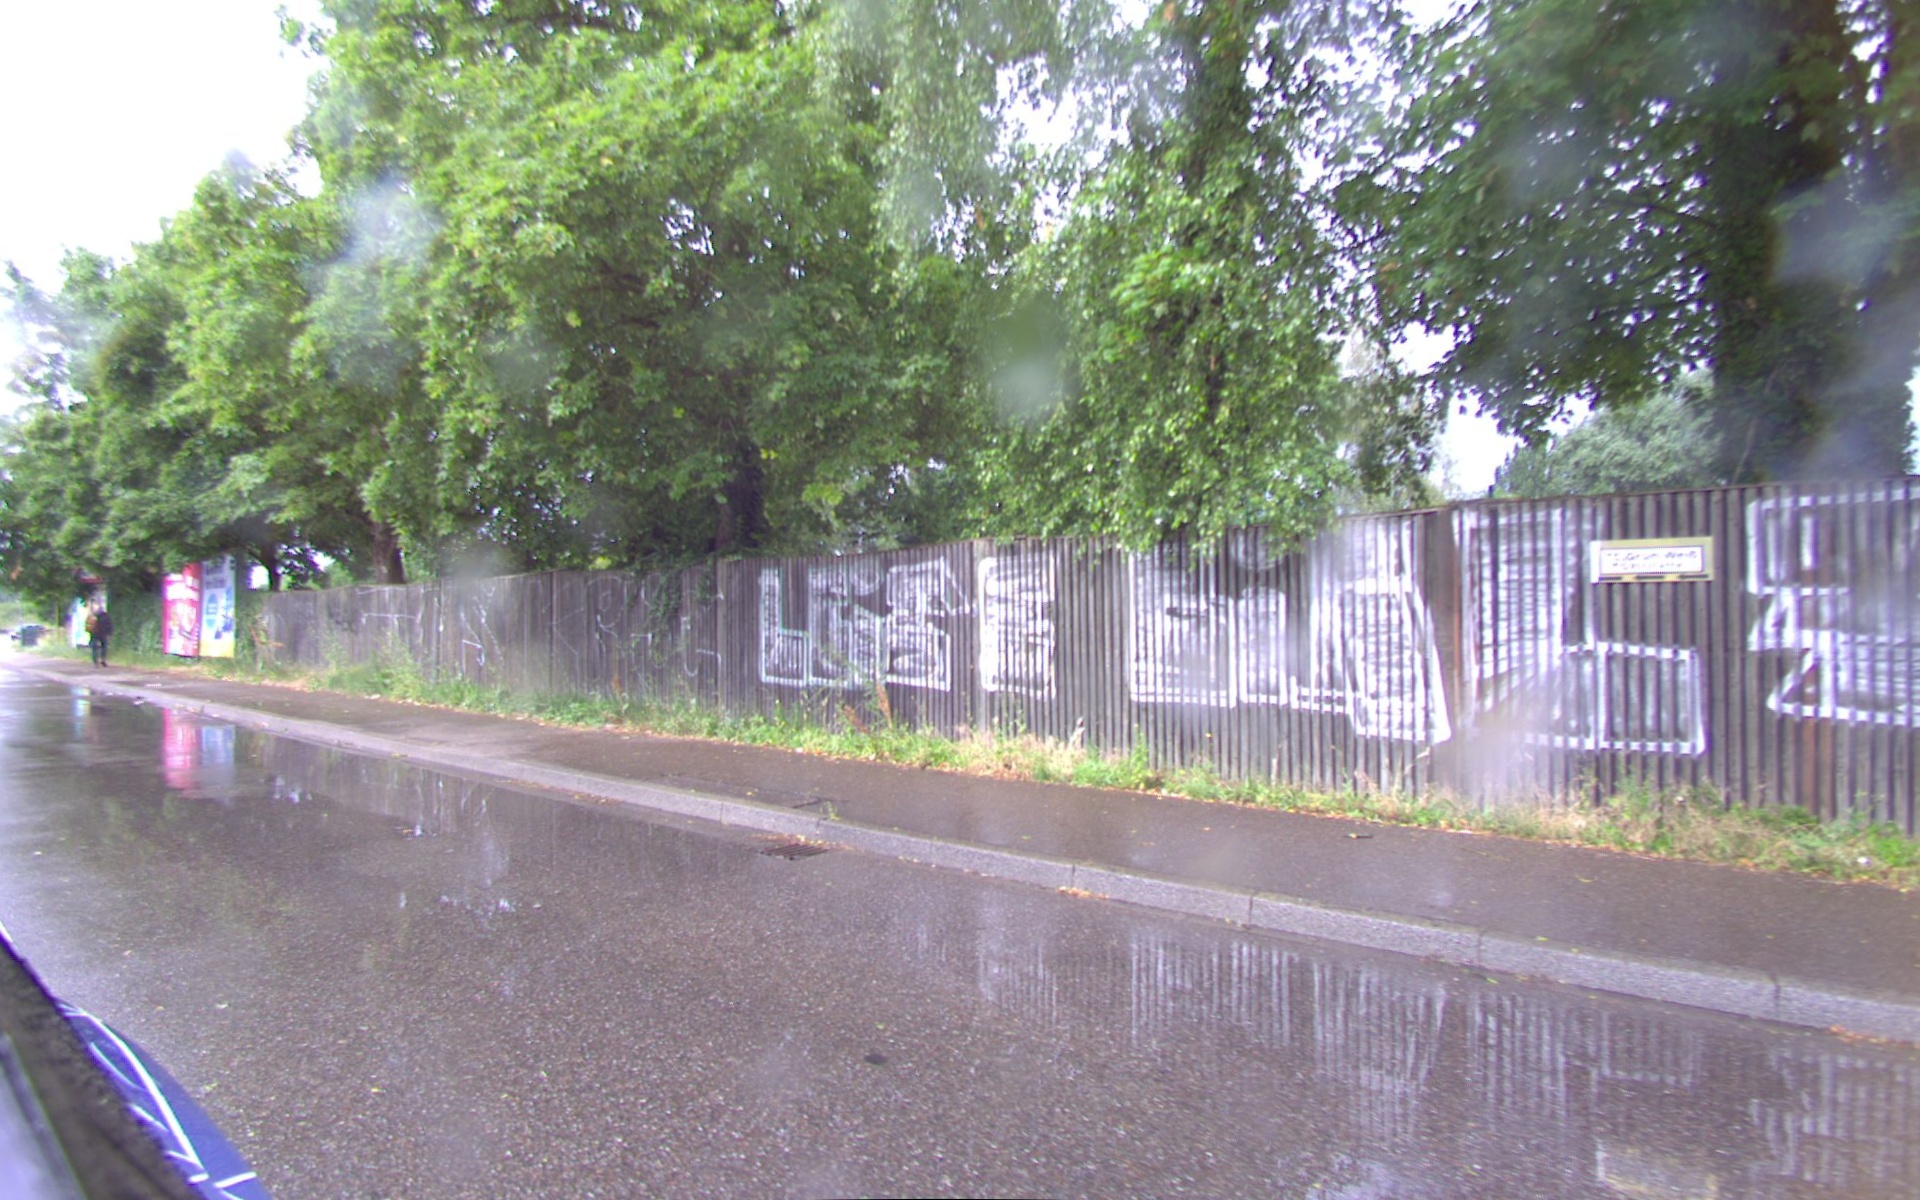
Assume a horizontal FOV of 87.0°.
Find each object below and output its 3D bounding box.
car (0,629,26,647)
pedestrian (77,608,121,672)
[{"bbox_3d":[-93.882,3.739,100.192,1.770,1.645,3.625,0,-1,-39],"label":"car"},{"bbox_3d":[-24.463,1.134,28.761,0.644,1.783,0.830,-2,-2,40],"label":"pedestrian"}]
